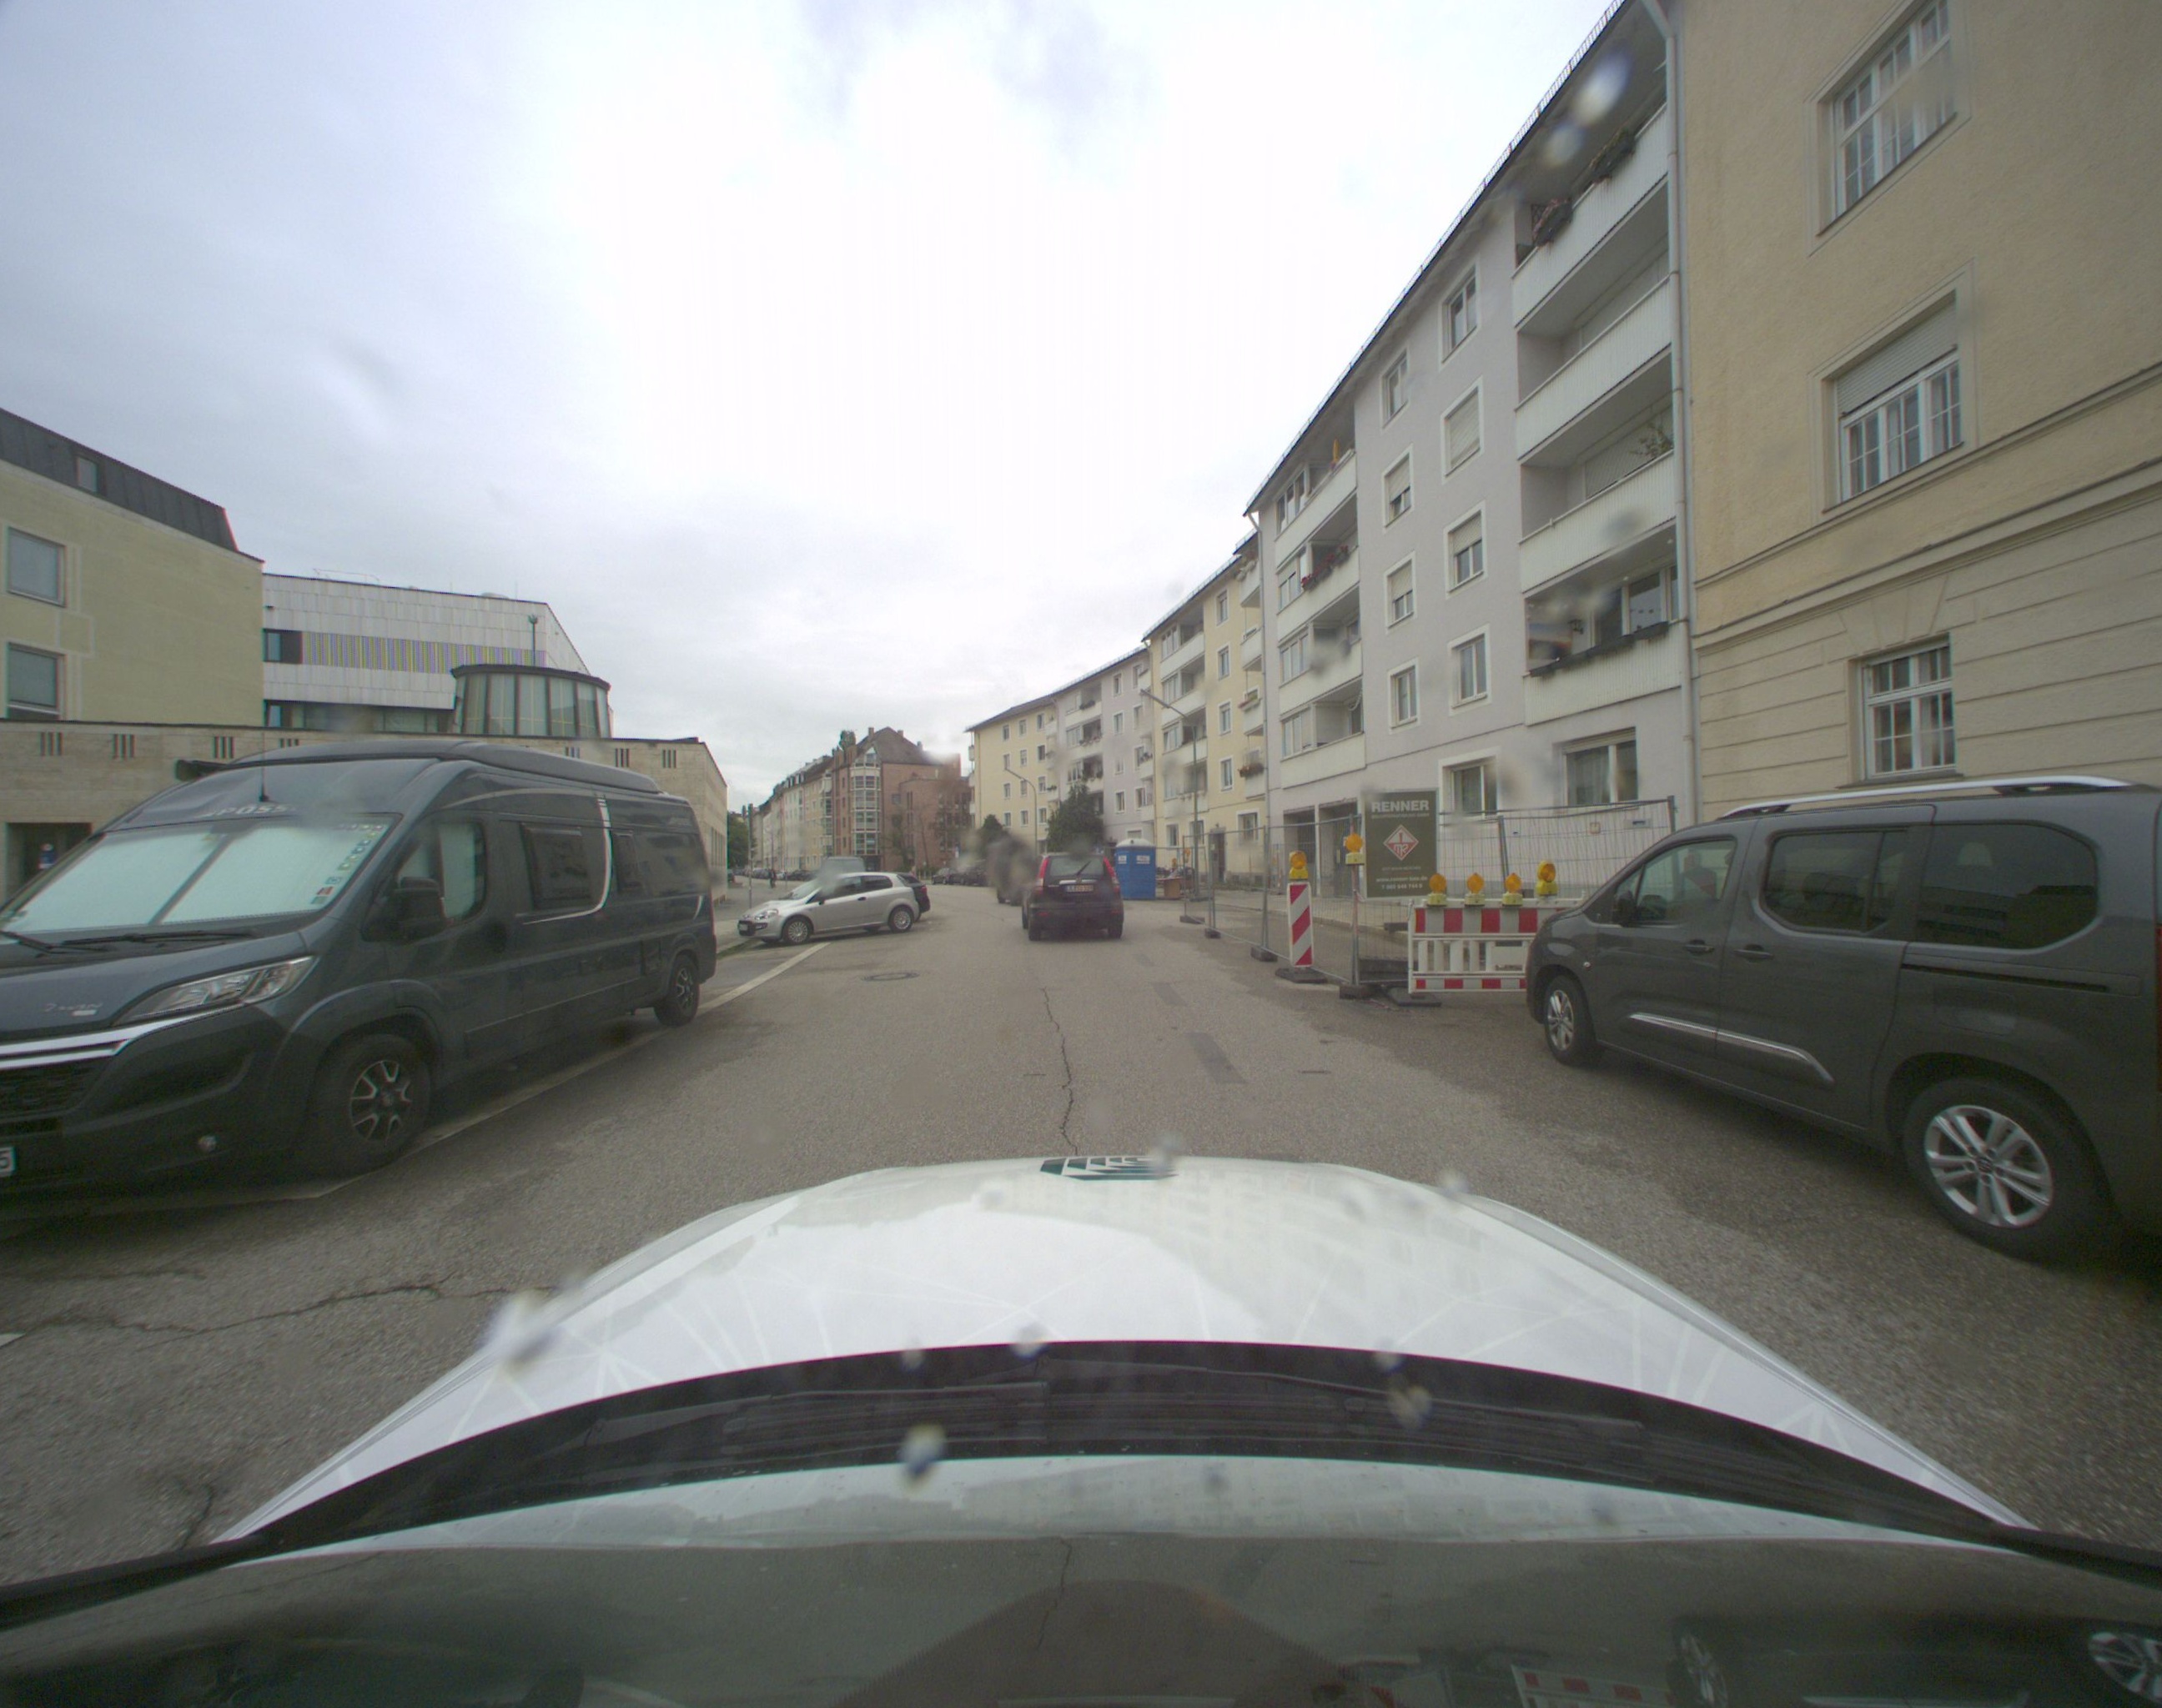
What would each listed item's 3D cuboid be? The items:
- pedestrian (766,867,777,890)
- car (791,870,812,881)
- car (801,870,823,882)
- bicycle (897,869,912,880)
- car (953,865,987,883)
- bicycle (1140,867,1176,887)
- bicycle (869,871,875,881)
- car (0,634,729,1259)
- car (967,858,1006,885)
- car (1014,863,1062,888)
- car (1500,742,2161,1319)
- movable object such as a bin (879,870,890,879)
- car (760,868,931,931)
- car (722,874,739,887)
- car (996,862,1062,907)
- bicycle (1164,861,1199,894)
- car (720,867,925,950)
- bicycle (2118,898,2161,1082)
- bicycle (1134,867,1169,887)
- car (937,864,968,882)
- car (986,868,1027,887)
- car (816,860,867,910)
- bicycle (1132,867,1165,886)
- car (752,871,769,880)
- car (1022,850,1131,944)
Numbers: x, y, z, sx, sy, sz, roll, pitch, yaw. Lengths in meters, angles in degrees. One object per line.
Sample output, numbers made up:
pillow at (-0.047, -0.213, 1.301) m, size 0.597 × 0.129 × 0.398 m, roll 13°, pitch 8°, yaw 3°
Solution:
pedestrian at (-23.877, 1.872, 62.763) m, size 0.753 × 1.703 × 0.921 m, roll 0°, pitch -1°, yaw -19°
car at (-39.010, 2.943, 113.720) m, size 1.820 × 1.472 × 4.074 m, roll 0°, pitch 0°, yaw -34°
car at (-36.359, 2.927, 110.112) m, size 1.820 × 1.472 × 4.074 m, roll 0°, pitch 0°, yaw -34°
bicycle at (-21.558, 2.488, 99.340) m, size 1.761 × 1.288 × 0.549 m, roll -1°, pitch -1°, yaw -22°
car at (-8.820, 1.562, 64.338) m, size 1.706 × 1.389 × 3.572 m, roll 0°, pitch 0°, yaw -25°
bicycle at (4.220, 1.252, 44.539) m, size 1.868 × 1.091 × 0.563 m, roll -1°, pitch -1°, yaw -13°
bicycle at (-28.266, 2.922, 110.107) m, size 0.553 × 1.288 × 1.747 m, roll 0°, pitch -1°, yaw -21°
car at (-5.004, 0.419, 6.443) m, size 2.161 × 2.642 × 6.007 m, roll -2°, pitch 0°, yaw -5°
car at (-7.015, 1.274, 60.268) m, size 1.732 × 1.878 × 3.967 m, roll 0°, pitch 0°, yaw -25°
car at (-2.765, 1.309, 51.631) m, size 1.732 × 1.483 × 3.967 m, roll 0°, pitch 0°, yaw -25°
car at (4.302, 0.567, 4.574) m, size 1.771 × 1.807 × 4.276 m, roll 0°, pitch 0°, yaw 1°
movable object such as a bin at (-25.265, 2.597, 104.774) m, size 0.970 × 1.085 × 1.968 m, roll 0°, pitch -1°, yaw -24°
car at (-6.280, 1.149, 21.932) m, size 4.107 × 1.481 × 1.665 m, roll -1°, pitch -1°, yaw -40°
car at (-48.586, 3.658, 112.880) m, size 1.926 × 1.746 × 4.737 m, roll -1°, pitch -1°, yaw -25°
car at (-1.944, 1.053, 29.473) m, size 1.681 × 1.481 × 4.067 m, roll -1°, pitch -1°, yaw -14°
bicycle at (4.494, 1.033, 36.695) m, size 0.967 × 1.388 × 2.558 m, roll -1°, pitch -1°, yaw -6°
car at (-5.870, 1.212, 18.765) m, size 4.109 × 1.481 × 1.664 m, roll -4°, pitch -2°, yaw -42°
bicycle at (6.281, 0.757, 3.747) m, size 0.577 × 1.014 × 1.954 m, roll -1°, pitch 0°, yaw 3°
bicycle at (3.997, 1.304, 46.194) m, size 1.868 × 1.091 × 0.643 m, roll -1°, pitch -1°, yaw -13°
car at (-10.784, 1.586, 68.278) m, size 1.706 × 1.389 × 3.572 m, roll 0°, pitch 0°, yaw -25°
car at (-5.150, 1.593, 56.128) m, size 1.706 × 1.236 × 3.572 m, roll 0°, pitch 0°, yaw -25°
car at (-9.060, 1.105, 30.650) m, size 1.683 × 1.707 × 4.486 m, roll -1°, pitch -1°, yaw -18°
bicycle at (3.995, 1.322, 48.247) m, size 1.868 × 1.091 × 0.643 m, roll -1°, pitch -1°, yaw -13°
car at (-53.114, 3.570, 134.869) m, size 1.820 × 1.472 × 4.074 m, roll 0°, pitch 0°, yaw -34°
car at (-0.219, 0.790, 16.671) m, size 1.888 × 1.647 × 3.984 m, roll -1°, pitch -1°, yaw -5°
